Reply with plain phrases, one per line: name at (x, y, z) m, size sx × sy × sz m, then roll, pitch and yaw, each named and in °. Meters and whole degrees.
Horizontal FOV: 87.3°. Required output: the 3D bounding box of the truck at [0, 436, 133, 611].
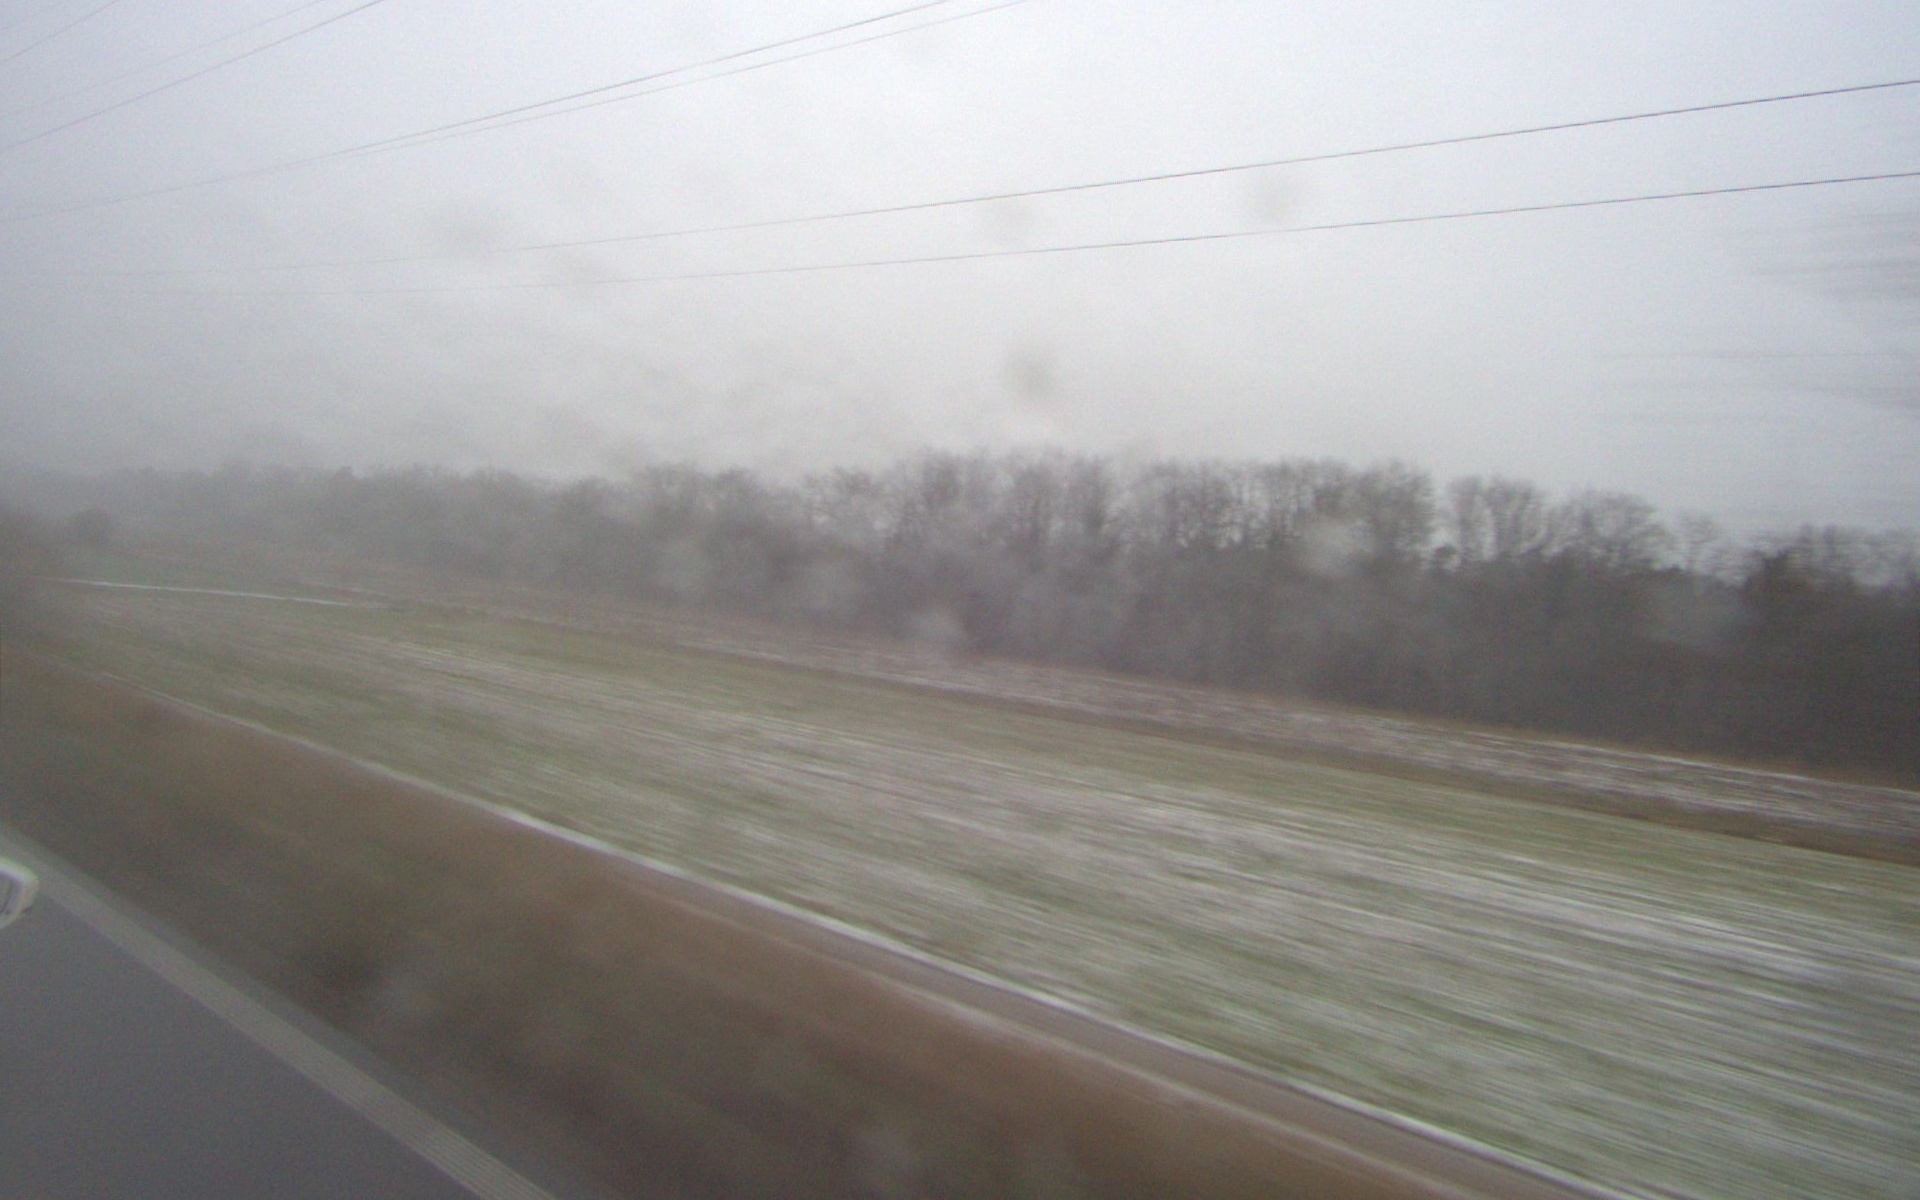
truck at (-19.494, -1.751, 18.703) m, size 10.621 × 2.601 × 2.510 m, roll 7°, pitch -1°, yaw 29°
